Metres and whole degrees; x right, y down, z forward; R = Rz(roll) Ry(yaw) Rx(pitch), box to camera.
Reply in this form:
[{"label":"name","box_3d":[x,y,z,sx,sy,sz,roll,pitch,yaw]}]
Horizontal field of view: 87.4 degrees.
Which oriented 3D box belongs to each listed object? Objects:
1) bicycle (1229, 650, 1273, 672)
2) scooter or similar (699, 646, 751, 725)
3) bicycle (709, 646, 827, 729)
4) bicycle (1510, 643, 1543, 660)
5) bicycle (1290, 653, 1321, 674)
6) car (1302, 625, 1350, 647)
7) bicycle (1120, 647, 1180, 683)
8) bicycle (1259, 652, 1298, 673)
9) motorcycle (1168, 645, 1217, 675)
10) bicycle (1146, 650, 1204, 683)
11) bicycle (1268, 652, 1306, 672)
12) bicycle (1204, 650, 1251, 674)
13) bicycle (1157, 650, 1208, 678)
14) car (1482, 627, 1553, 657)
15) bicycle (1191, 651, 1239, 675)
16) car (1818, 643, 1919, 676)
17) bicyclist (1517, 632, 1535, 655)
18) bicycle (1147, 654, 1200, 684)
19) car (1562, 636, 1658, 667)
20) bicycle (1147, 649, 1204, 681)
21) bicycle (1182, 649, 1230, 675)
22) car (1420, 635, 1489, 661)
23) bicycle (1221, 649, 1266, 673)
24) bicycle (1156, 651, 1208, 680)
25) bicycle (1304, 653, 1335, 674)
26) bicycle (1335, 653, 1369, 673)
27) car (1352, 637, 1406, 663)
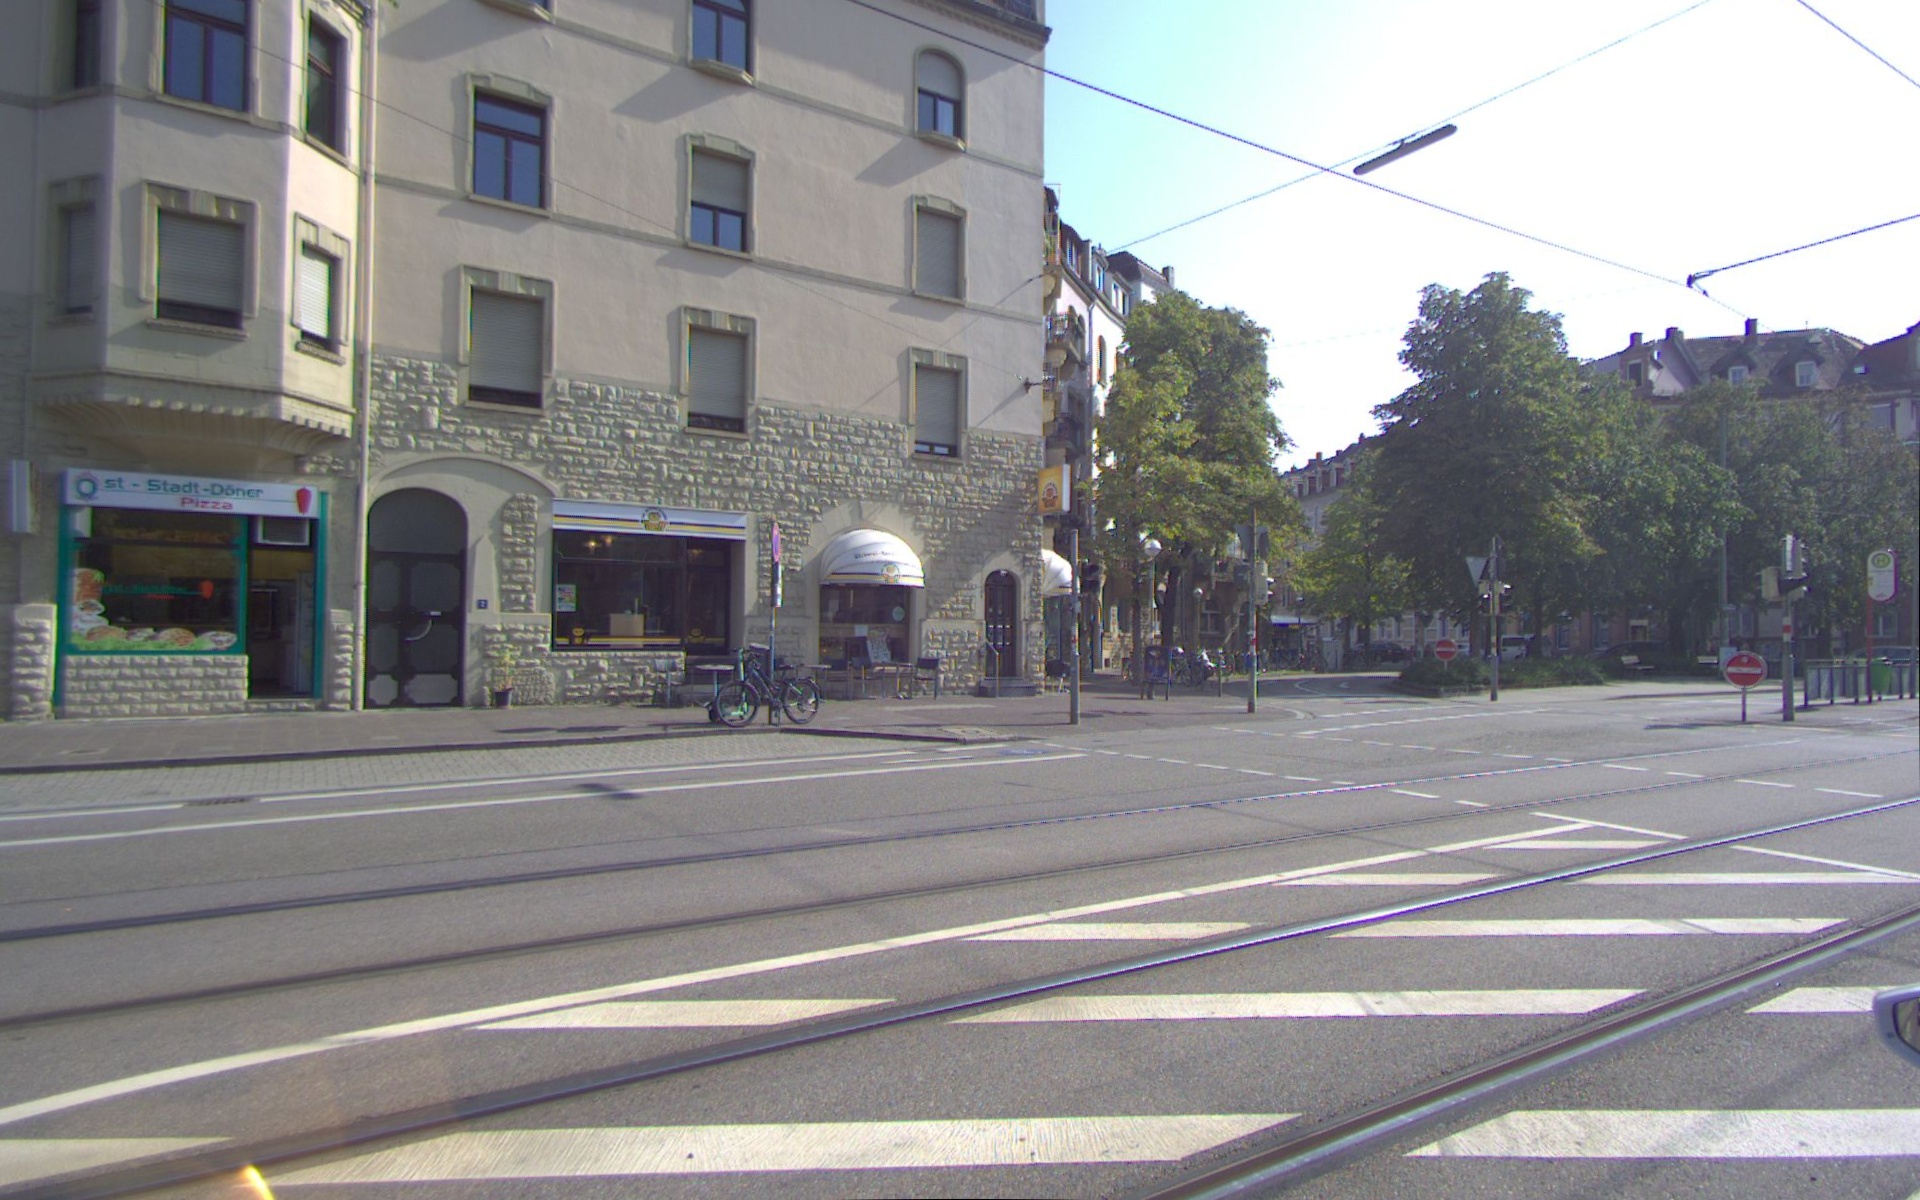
[{"label":"bicycle","box_3d":[13.428,2.803,46.347,1.851,0.947,0.635,-1,-3,42]},{"label":"scooter or similar","box_3d":[-3.728,1.338,15.982,0.359,1.213,1.035,0,-2,13]},{"label":"bicycle","box_3d":[-2.990,1.341,15.761,1.842,1.242,0.449,2,-3,-41]},{"label":"bicycle","box_3d":[34.744,3.148,61.598,0.540,0.970,1.849,1,-2,-18]},{"label":"bicycle","box_3d":[17.044,3.114,49.565,1.750,0.990,0.422,1,-2,-32]},{"label":"car","box_3d":[32.117,3.188,88.313,1.968,1.852,3.986,1,-2,-17]},{"label":"bicycle","box_3d":[6.148,2.097,32.507,1.844,1.127,0.569,1,-2,-10]},{"label":"bicycle","box_3d":[15.898,3.110,50.154,1.742,0.990,0.518,-2,-3,38]},{"label":"motorcycle","box_3d":[9.441,2.426,40.805,1.840,1.169,0.607,0,-2,26]},{"label":"bicycle","box_3d":[7.115,2.196,33.287,1.840,1.017,0.570,1,-2,6]},{"label":"bicycle","box_3d":[16.487,3.128,50.669,1.742,0.990,0.603,-2,-3,37]},{"label":"bicycle","box_3d":[11.709,2.689,43.965,1.865,0.993,0.685,0,-2,26]},{"label":"bicycle","box_3d":[8.262,2.376,37.264,1.769,0.996,0.660,0,-2,19]},{"label":"car","box_3d":[35.828,2.681,64.713,1.964,1.852,3.995,1,-2,-9]},{"label":"bicycle","box_3d":[10.826,2.658,42.712,1.876,0.947,0.737,0,-2,26]},{"label":"car","box_3d":[45.531,2.923,49.719,4.255,1.589,1.998,-1,-2,26]},{"label":"bicyclist","box_3d":[34.735,2.664,61.618,0.540,1.345,0.818,1,-2,-18]},{"label":"bicycle","box_3d":[6.774,2.182,31.845,1.577,0.932,0.479,1,-2,0]},{"label":"car","box_3d":[35.043,2.737,54.167,4.265,1.589,1.994,-1,-3,35]},{"label":"bicycle","box_3d":[7.454,2.248,34.744,1.841,1.047,0.570,0,-2,21]},{"label":"bicycle","box_3d":[10.176,2.560,41.613,1.843,1.041,0.663,0,-2,26]},{"label":"car","box_3d":[32.274,3.114,65.660,1.963,1.589,4.332,1,-2,-7]},{"label":"bicycle","box_3d":[12.685,2.731,44.972,1.865,0.993,0.685,0,-2,26]},{"label":"bicycle","box_3d":[7.980,2.353,36.083,1.769,0.997,0.570,0,-2,19]},{"label":"bicycle","box_3d":[17.722,3.126,49.546,1.750,0.990,0.422,1,-2,-32]},{"label":"bicycle","box_3d":[20.200,3.222,51.817,0.596,0.990,1.761,1,-2,-23]},{"label":"car","box_3d":[31.123,3.678,74.657,1.963,1.852,3.996,1,-2,-8]}]
